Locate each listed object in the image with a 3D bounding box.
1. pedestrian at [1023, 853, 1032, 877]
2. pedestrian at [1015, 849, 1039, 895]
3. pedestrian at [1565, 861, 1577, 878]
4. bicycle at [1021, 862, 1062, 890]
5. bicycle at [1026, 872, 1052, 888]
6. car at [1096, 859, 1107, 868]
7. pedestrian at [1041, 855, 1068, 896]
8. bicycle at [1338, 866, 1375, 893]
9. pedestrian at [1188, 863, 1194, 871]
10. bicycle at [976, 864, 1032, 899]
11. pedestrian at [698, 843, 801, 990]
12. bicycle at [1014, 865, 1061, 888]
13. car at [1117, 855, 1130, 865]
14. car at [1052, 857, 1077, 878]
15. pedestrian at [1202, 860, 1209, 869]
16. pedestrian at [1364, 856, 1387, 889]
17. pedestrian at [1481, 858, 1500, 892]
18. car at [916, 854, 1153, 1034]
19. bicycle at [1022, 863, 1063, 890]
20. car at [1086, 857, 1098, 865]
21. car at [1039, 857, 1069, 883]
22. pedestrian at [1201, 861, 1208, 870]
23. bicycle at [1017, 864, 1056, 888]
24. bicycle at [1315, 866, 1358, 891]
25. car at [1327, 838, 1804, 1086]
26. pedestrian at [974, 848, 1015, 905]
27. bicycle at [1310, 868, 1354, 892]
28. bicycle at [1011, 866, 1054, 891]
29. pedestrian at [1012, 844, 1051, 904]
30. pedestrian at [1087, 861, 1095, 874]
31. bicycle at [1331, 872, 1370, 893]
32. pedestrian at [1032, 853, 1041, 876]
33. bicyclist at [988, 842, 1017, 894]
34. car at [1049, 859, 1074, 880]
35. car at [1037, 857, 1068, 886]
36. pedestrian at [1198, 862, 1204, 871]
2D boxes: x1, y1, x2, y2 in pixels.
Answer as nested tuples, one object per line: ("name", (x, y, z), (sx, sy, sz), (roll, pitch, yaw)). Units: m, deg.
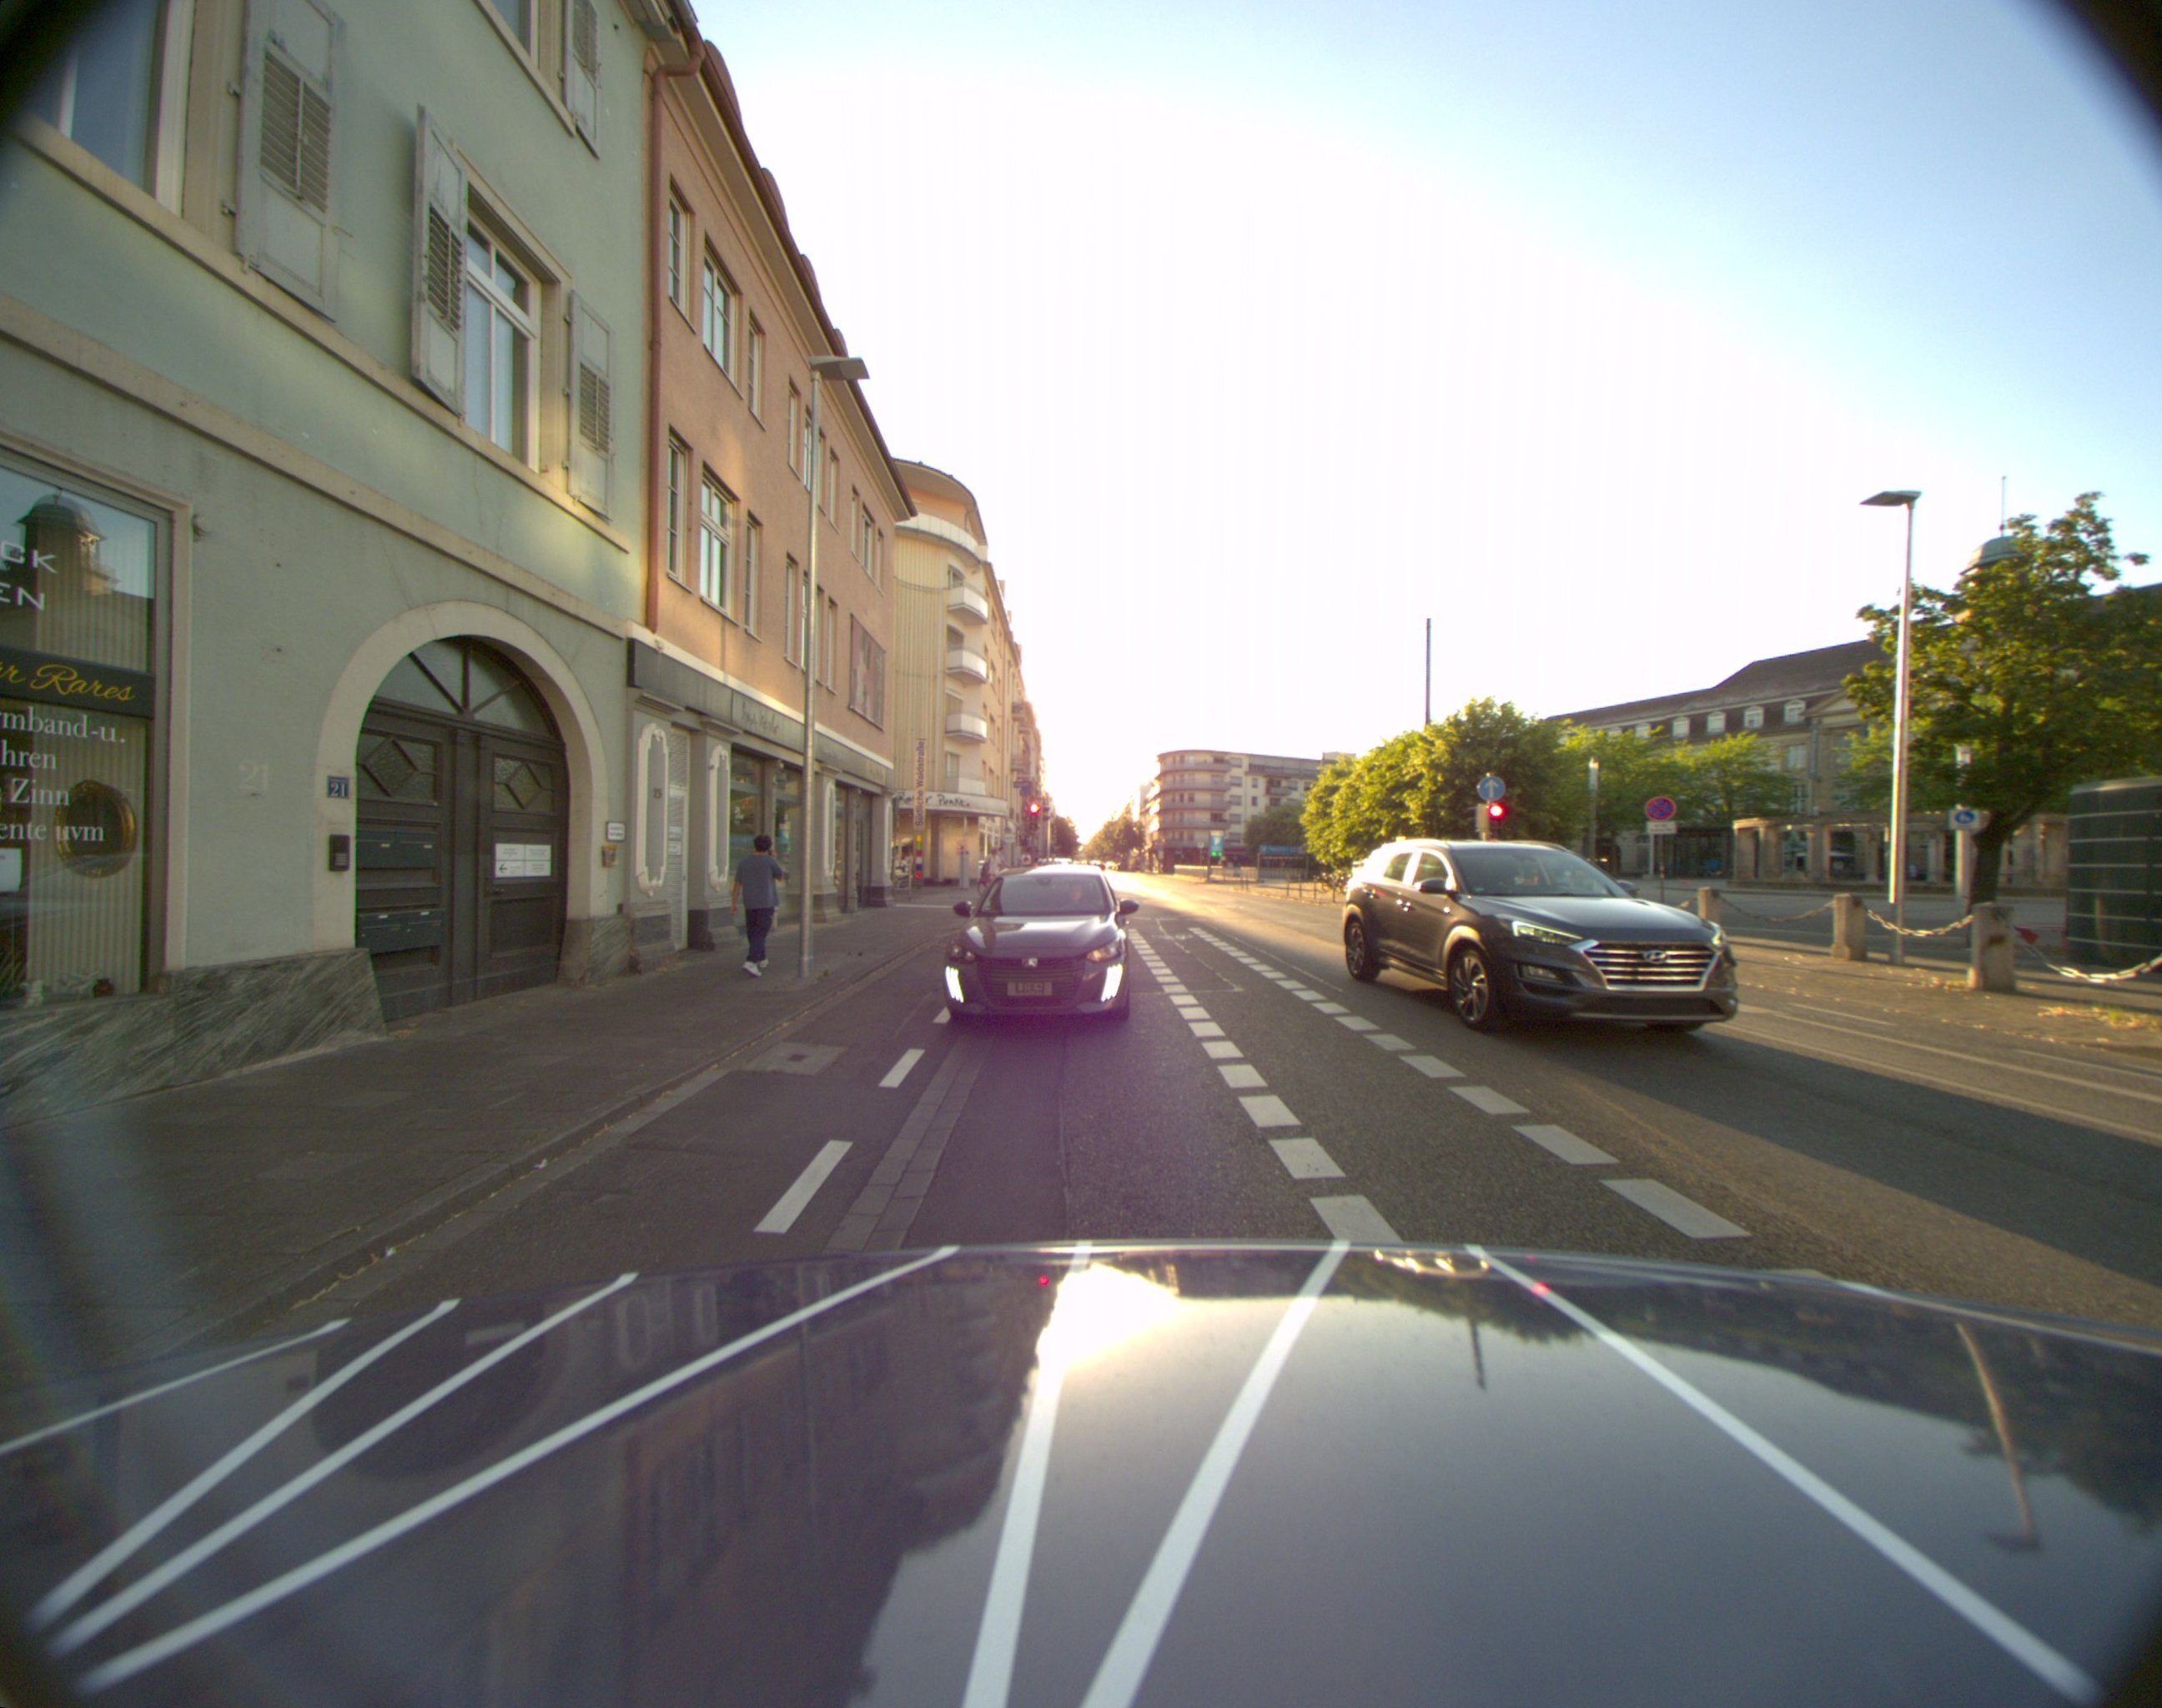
("pedestrian", (-4.606, 0.933, 65.599), (0.673, 2.002, 0.851), (0, 0, 0))
("pedestrian", (-2.164, 0.706, 30.495), (0.826, 1.806, 0.870), (1, 0, -13))
("pedestrian", (30.748, 1.004, 47.682), (0.461, 1.057, 0.531), (-1, -2, 20))
("bicycle", (-1.809, 1.004, 34.677), (1.849, 1.232, 0.639), (1, 0, -5))
("bicycle", (-1.841, 1.125, 33.109), (1.008, 0.677, 1.049), (1, 0, -9))
("car", (3.718, 1.713, 138.652), (1.790, 1.458, 3.956), (1, 0, -1))
("pedestrian", (-1.094, 0.873, 31.364), (0.789, 1.643, 0.782), (1, 0, 43))
("bicycle", (13.197, 1.211, 36.407), (1.590, 1.245, 0.445), (-1, 0, -2))
("pedestrian", (15.842, 1.838, 109.385), (0.887, 1.185, 0.733), (0, 0, 9))
("bicycle", (-2.754, 0.964, 27.145), (1.823, 1.179, 0.794), (1, 0, 9))
("pedestrian", (-3.856, 0.706, 8.918), (0.825, 1.632, 0.871), (1, 0, -2))
("bicycle", (-2.124, 1.093, 37.009), (2.176, 1.069, 0.805), (2, 0, -7))
("car", (7.588, 1.104, 135.466), (1.999, 1.805, 3.999), (1, 0, -2))
("car", (-1.290, 1.062, 61.794), (1.877, 1.664, 4.430), (0, 0, 0))
("pedestrian", (18.145, 1.499, 110.859), (0.732, 1.314, 0.888), (0, 0, -2))
("pedestrian", (16.110, 1.005, 41.531), (0.950, 1.806, 0.828), (1, 0, 37))
("pedestrian", (19.823, 1.024, 36.784), (0.703, 1.611, 0.842), (0, 1, 37))
("car", (-0.284, 0.726, 8.345), (1.908, 1.438, 4.450), (0, 0, 2))
("bicycle", (-1.810, 1.053, 35.425), (1.788, 1.166, 0.622), (2, 0, -11))
("car", (2.144, 1.421, 152.875), (1.878, 1.621, 4.177), (3, -1, -5))
("car", (-1.734, 1.029, 50.620), (1.821, 1.611, 4.203), (0, 0, 0))
("pedestrian", (18.077, 1.680, 111.514), (0.689, 1.314, 0.819), (0, 0, -24))
("bicycle", (-2.217, 1.083, 38.008), (1.851, 1.117, 0.594), (2, 1, -11))
("bicycle", (13.160, 1.275, 39.174), (2.031, 1.245, 0.548), (-1, 0, -4))
("car", (4.085, 0.768, 7.508), (1.877, 1.679, 4.450), (1, 0, 1))
("pedestrian", (-2.748, 0.701, 24.077), (0.827, 1.764, 1.098), (1, 0, -34))
("bicycle", (12.455, 1.288, 37.707), (2.031, 1.128, 0.548), (-1, 0, -4))
("bicycle", (-2.139, 1.081, 33.739), (1.788, 1.057, 0.718), (2, 0, -11))
("pedestrian", (-1.614, 0.641, 24.889), (0.938, 1.886, 0.828), (1, 0, 36))
("pedestrian", (1.207, 1.646, 92.800), (0.678, 1.508, 0.676), (1, 0, -42))
("bicycle", (13.104, 1.401, 36.933), (1.678, 0.973, 0.548), (-1, 0, -4))
("pedestrian", (-3.835, 0.906, 65.630), (0.763, 2.002, 0.851), (0, 0, 0))
("bicyclist", (-2.805, 0.503, 27.153), (0.835, 1.815, 0.831), (1, 0, 8))
("car", (-1.400, 1.132, 56.242), (1.738, 1.448, 4.610), (0, 0, 1))
("car", (-1.631, 0.975, 44.343), (1.702, 1.607, 4.682), (0, 0, -2))
("pedestrian", (17.466, 1.796, 110.769), (0.732, 1.314, 0.889), (0, 0, -1))
